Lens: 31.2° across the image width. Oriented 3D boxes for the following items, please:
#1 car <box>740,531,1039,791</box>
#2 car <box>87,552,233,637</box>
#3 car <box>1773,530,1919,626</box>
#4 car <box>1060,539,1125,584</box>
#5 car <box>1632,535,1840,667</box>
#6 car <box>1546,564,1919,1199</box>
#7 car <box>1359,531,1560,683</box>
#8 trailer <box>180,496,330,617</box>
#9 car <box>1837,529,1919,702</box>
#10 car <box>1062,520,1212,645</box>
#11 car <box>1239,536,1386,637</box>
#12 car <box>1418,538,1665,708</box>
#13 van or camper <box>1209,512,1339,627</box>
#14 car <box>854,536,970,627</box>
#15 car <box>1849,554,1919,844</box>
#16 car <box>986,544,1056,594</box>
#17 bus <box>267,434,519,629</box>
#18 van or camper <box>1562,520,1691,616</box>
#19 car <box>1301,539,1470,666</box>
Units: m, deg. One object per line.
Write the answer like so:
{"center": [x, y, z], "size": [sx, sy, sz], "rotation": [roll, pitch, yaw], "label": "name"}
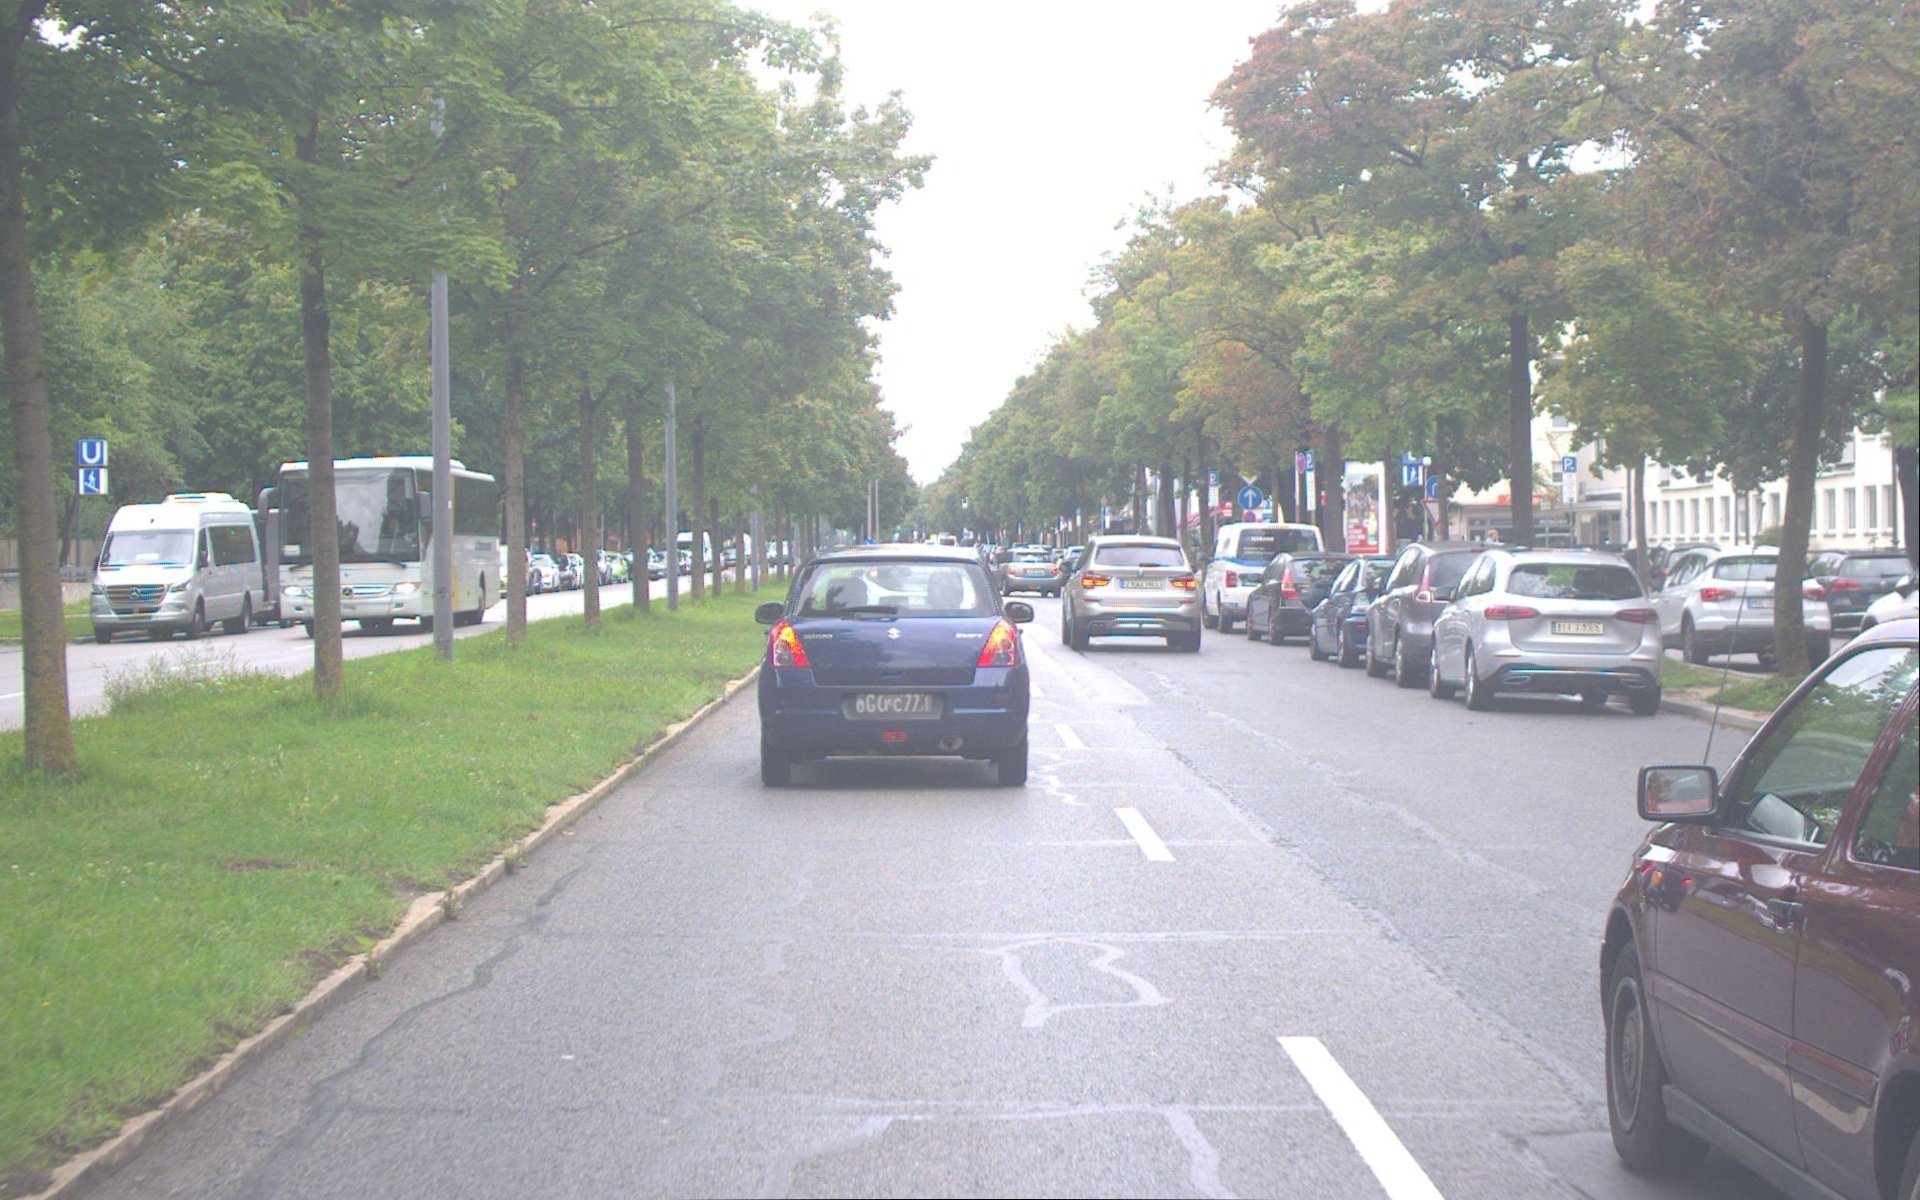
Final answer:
{"center": [-0.489, 0.328, 22.665], "size": [1.789, 1.550, 4.001], "rotation": [0, 1, -2], "label": "car"}
{"center": [-15.234, -0.134, 65.684], "size": [1.913, 1.537, 4.188], "rotation": [-1, 1, -2], "label": "car"}
{"center": [15.074, -0.401, 58.394], "size": [1.684, 1.580, 4.028], "rotation": [0, 1, 2], "label": "car"}
{"center": [4.345, -1.289, 113.474], "size": [1.850, 1.442, 4.098], "rotation": [0, 1, -2], "label": "car"}
{"center": [9.701, -0.027, 43.249], "size": [1.684, 1.580, 4.028], "rotation": [0, 1, -1], "label": "car"}
{"center": [2.351, 0.671, 6.881], "size": [1.622, 1.449, 3.950], "rotation": [0, 1, -1], "label": "car"}
{"center": [5.658, 0.033, 39.395], "size": [1.684, 1.620, 4.306], "rotation": [1, 1, 0], "label": "car"}
{"center": [-15.328, -0.972, 75.082], "size": [2.106, 2.531, 5.577], "rotation": [-1, 1, 0], "label": "trailer"}
{"center": [9.844, 0.129, 32.834], "size": [1.684, 1.627, 4.780], "rotation": [0, 1, -1], "label": "car"}
{"center": [2.546, -0.287, 50.395], "size": [1.850, 1.737, 4.098], "rotation": [0, 1, -2], "label": "car"}
{"center": [5.585, -0.246, 54.893], "size": [1.684, 1.548, 4.307], "rotation": [0, 1, -3], "label": "car"}
{"center": [5.650, 0.172, 33.875], "size": [1.684, 1.520, 4.456], "rotation": [1, 1, 0], "label": "car"}
{"center": [5.540, -0.567, 61.041], "size": [1.944, 1.968, 4.306], "rotation": [0, 1, 1], "label": "van or camper"}
{"center": [-0.830, -0.336, 57.114], "size": [1.850, 1.442, 4.098], "rotation": [0, 1, -2], "label": "car"}
{"center": [5.729, 0.547, 16.248], "size": [1.706, 1.449, 4.512], "rotation": [2, 1, -2], "label": "car"}
{"center": [1.794, -0.927, 102.199], "size": [1.850, 1.442, 4.098], "rotation": [0, 1, -2], "label": "car"}
{"center": [-10.794, -1.330, 66.808], "size": [2.738, 3.366, 12.013], "rotation": [-2, 1, 0], "label": "bus"}
{"center": [14.159, -0.705, 73.201], "size": [1.944, 1.968, 4.306], "rotation": [0, 1, 1], "label": "van or camper"}
{"center": [5.453, -0.002, 44.460], "size": [1.684, 1.548, 4.306], "rotation": [0, 1, 1], "label": "car"}
